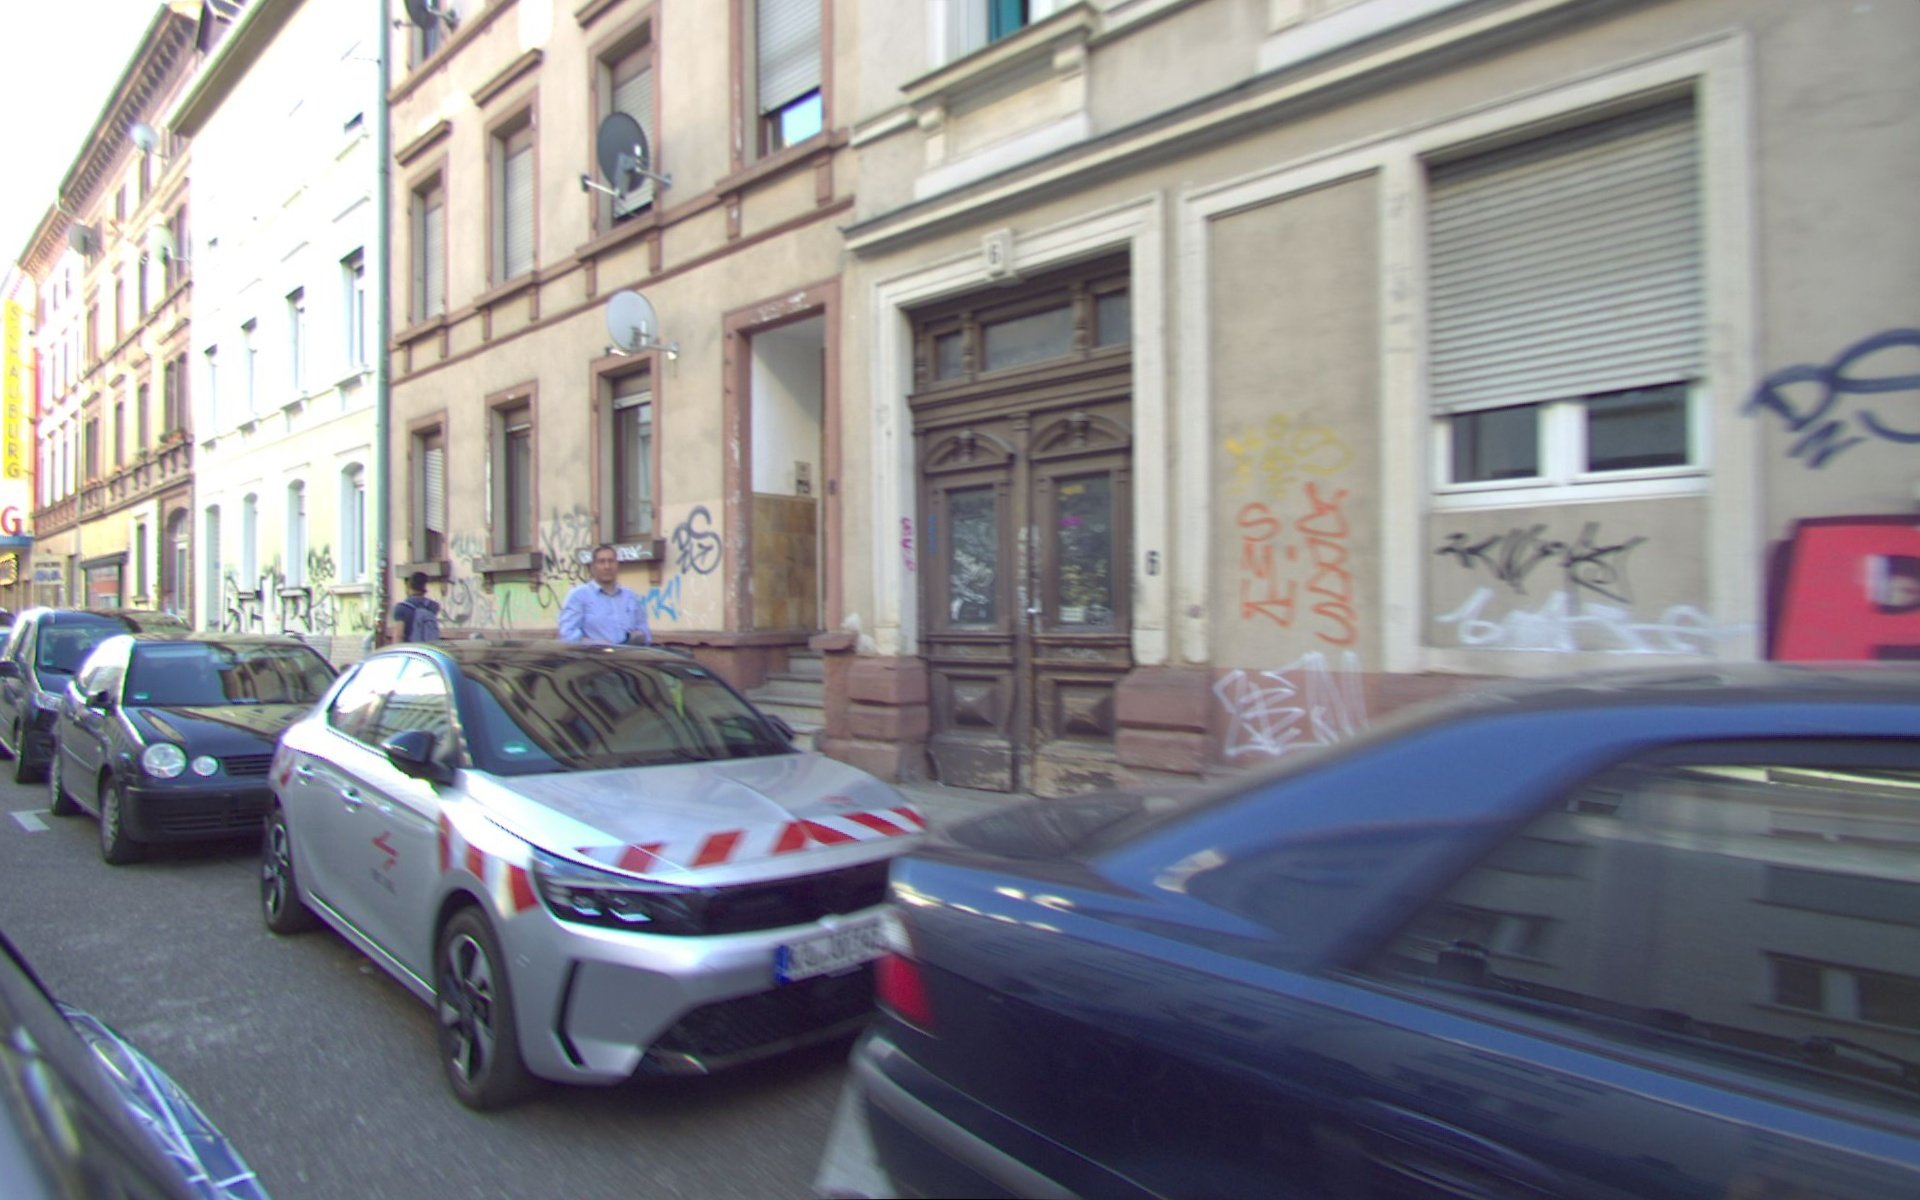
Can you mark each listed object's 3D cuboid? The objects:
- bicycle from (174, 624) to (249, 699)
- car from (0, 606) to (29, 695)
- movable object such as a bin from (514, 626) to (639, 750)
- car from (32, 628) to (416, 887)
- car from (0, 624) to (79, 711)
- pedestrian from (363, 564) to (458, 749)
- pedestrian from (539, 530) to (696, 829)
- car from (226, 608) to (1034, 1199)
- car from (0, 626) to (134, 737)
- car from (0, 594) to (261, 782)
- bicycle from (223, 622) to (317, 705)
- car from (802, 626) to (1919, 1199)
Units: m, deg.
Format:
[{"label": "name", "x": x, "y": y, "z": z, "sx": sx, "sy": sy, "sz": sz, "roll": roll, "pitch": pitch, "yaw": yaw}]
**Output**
[{"label": "bicycle", "x": -13.622, "y": 1.088, "z": 18.403, "sx": 2.085, "sy": 1.281, "sz": 0.666, "roll": -2, "pitch": -1, "yaw": 41}, {"label": "car", "x": -22.582, "y": 1.100, "z": 22.788, "sx": 4.611, "sy": 1.906, "sz": 1.808, "roll": -2, "pitch": -4, "yaw": 41}, {"label": "movable object such as a bin", "x": -3.608, "y": 0.798, "z": 9.522, "sx": 0.757, "sy": 1.032, "sz": 0.781, "roll": -2, "pitch": 3, "yaw": 43}, {"label": "car", "x": -5.585, "y": 0.938, "z": 7.519, "sx": 3.652, "sy": 1.451, "sz": 1.575, "roll": -2, "pitch": -2, "yaw": 42}, {"label": "car", "x": -17.757, "y": 1.192, "z": 18.403, "sx": 4.640, "sy": 1.451, "sz": 1.843, "roll": -2, "pitch": -2, "yaw": 39}, {"label": "pedestrian", "x": -5.829, "y": 0.571, "z": 10.733, "sx": 0.753, "sy": 1.872, "sz": 0.604, "roll": -2, "pitch": 0, "yaw": 40}, {"label": "pedestrian", "x": -2.268, "y": 0.485, "z": 6.693, "sx": 0.753, "sy": 1.831, "sz": 0.644, "roll": -2, "pitch": 0, "yaw": 42}, {"label": "car", "x": -1.711, "y": 0.792, "z": 4.362, "sx": 3.888, "sy": 1.441, "sz": 1.655, "roll": -2, "pitch": -2, "yaw": 43}, {"label": "car", "x": -13.688, "y": 1.117, "z": 14.901, "sx": 3.998, "sy": 1.438, "sz": 1.718, "roll": -2, "pitch": -2, "yaw": 41}, {"label": "car", "x": -9.429, "y": 0.877, "z": 11.200, "sx": 3.997, "sy": 1.711, "sz": 1.782, "roll": -1, "pitch": -4, "yaw": 41}, {"label": "bicycle", "x": -11.465, "y": 1.020, "z": 16.789, "sx": 2.325, "sy": 1.255, "sz": 0.660, "roll": -2, "pitch": 1, "yaw": 41}, {"label": "car", "x": 1.860, "y": 0.744, "z": 1.147, "sx": 4.300, "sy": 1.424, "sz": 1.688, "roll": -2, "pitch": -2, "yaw": 41}]
